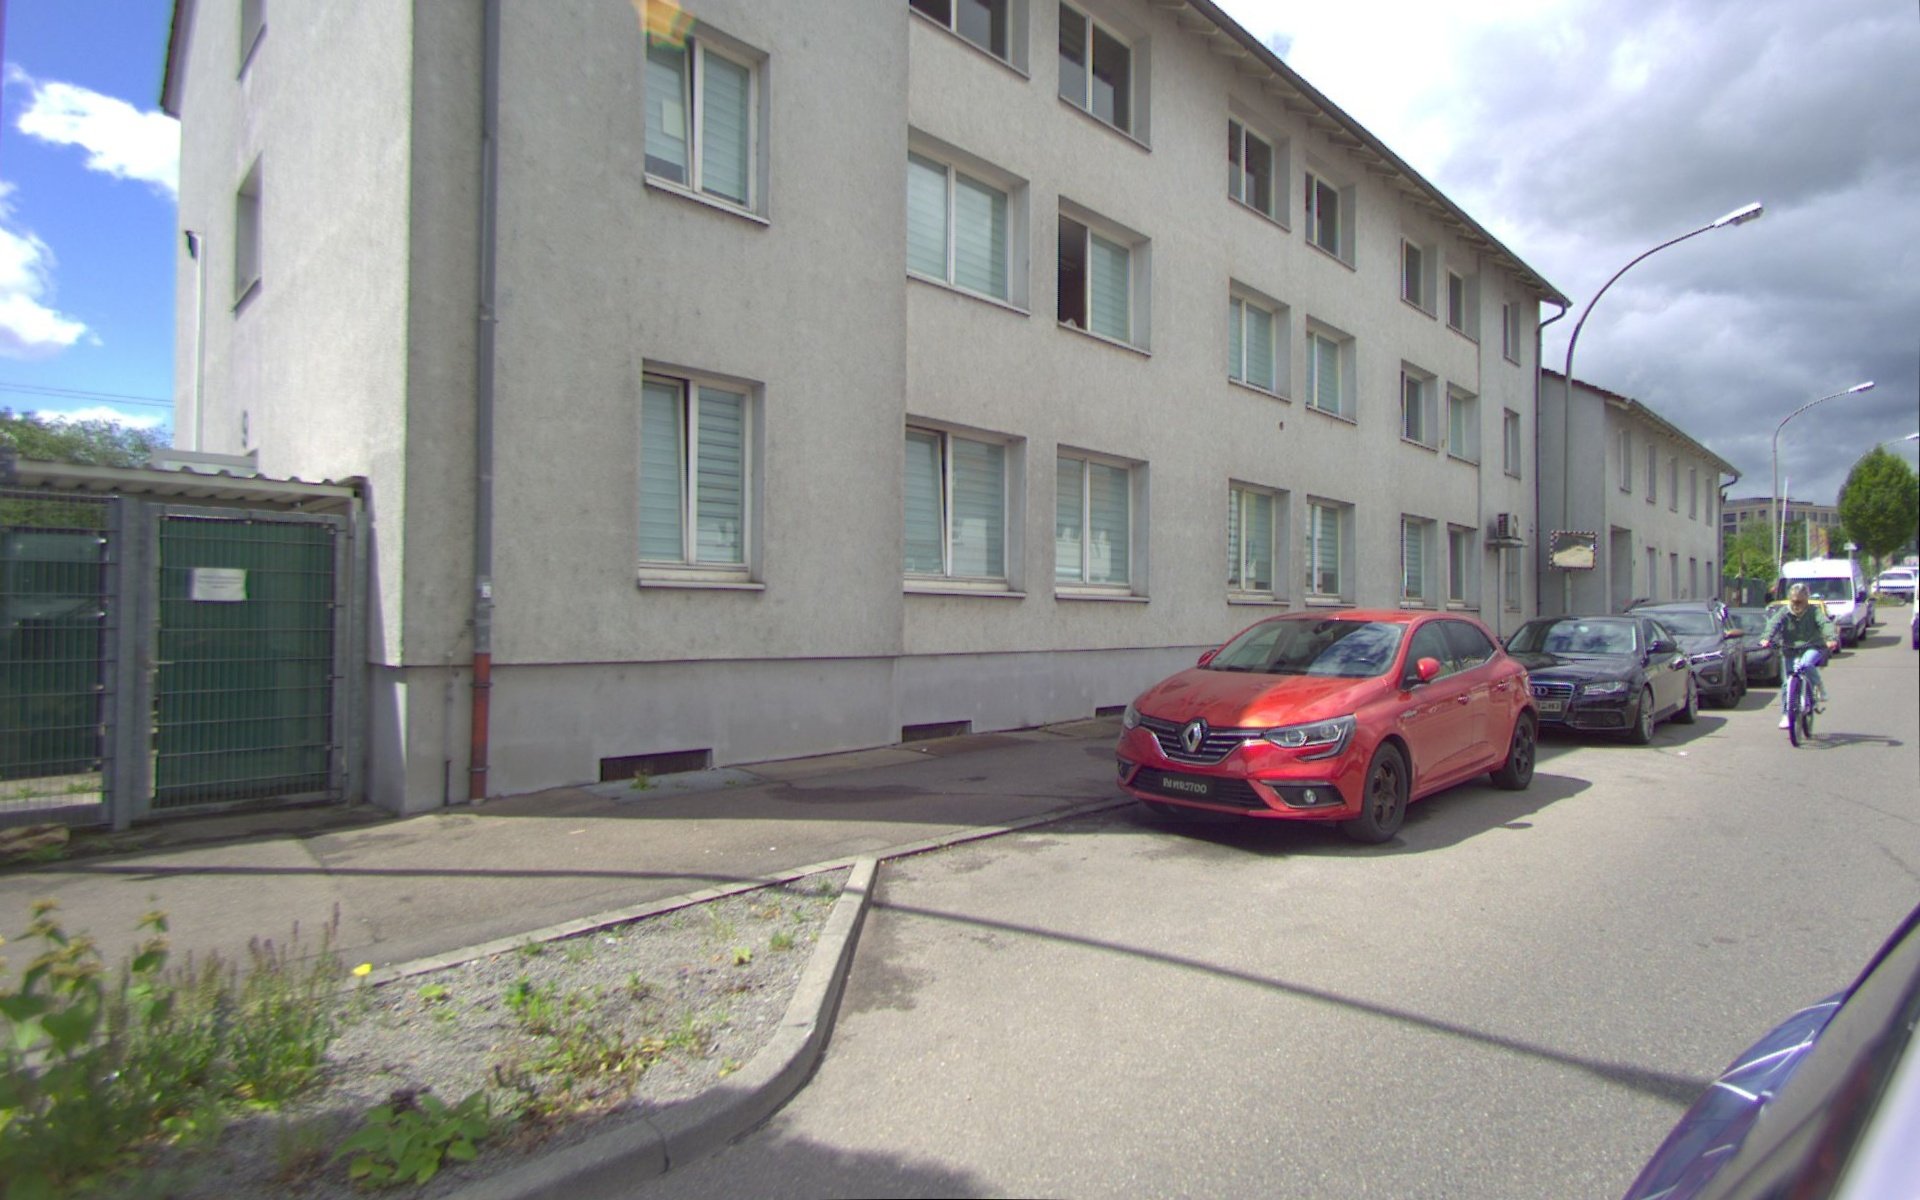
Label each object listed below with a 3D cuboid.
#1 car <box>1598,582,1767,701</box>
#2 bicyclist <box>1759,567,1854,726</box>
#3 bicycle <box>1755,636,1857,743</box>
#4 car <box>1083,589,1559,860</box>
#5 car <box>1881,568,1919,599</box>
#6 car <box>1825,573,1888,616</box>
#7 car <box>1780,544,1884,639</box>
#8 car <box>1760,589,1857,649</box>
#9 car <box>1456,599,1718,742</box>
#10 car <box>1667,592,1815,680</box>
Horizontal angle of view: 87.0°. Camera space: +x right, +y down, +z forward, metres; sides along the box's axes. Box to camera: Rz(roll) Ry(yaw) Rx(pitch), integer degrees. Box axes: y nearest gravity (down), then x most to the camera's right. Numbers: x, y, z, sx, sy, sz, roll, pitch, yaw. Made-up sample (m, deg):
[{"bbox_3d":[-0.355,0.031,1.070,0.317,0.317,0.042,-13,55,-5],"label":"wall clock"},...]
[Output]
[{"bbox_3d":[11.840,0.620,16.446,1.675,1.659,4.723,-3,-3,42],"label":"car"},{"bbox_3d":[9.256,0.477,11.061,0.739,1.646,0.720,-1,1,43],"label":"bicyclist"},{"bbox_3d":[9.263,0.934,11.059,0.740,0.987,1.705,-1,0,43],"label":"bicycle"},{"bbox_3d":[2.934,0.706,7.692,4.190,1.491,1.736,0,-1,-44],"label":"car"},{"bbox_3d":[53.320,-0.963,56.923,4.391,1.584,1.845,-3,3,-42],"label":"car"},{"bbox_3d":[34.937,-0.232,39.398,4.029,1.529,1.567,-3,2,-45],"label":"car"},{"bbox_3d":[27.371,-0.383,31.668,2.033,2.674,7.169,-1,2,44],"label":"car"},{"bbox_3d":[22.724,0.458,27.064,3.727,1.466,1.594,-1,0,-44],"label":"car"},{"bbox_3d":[7.902,0.735,12.527,1.735,1.442,4.782,-2,-2,44],"label":"car"},{"bbox_3d":[15.631,0.679,20.138,1.704,1.530,5.005,-3,-3,44],"label":"car"}]
